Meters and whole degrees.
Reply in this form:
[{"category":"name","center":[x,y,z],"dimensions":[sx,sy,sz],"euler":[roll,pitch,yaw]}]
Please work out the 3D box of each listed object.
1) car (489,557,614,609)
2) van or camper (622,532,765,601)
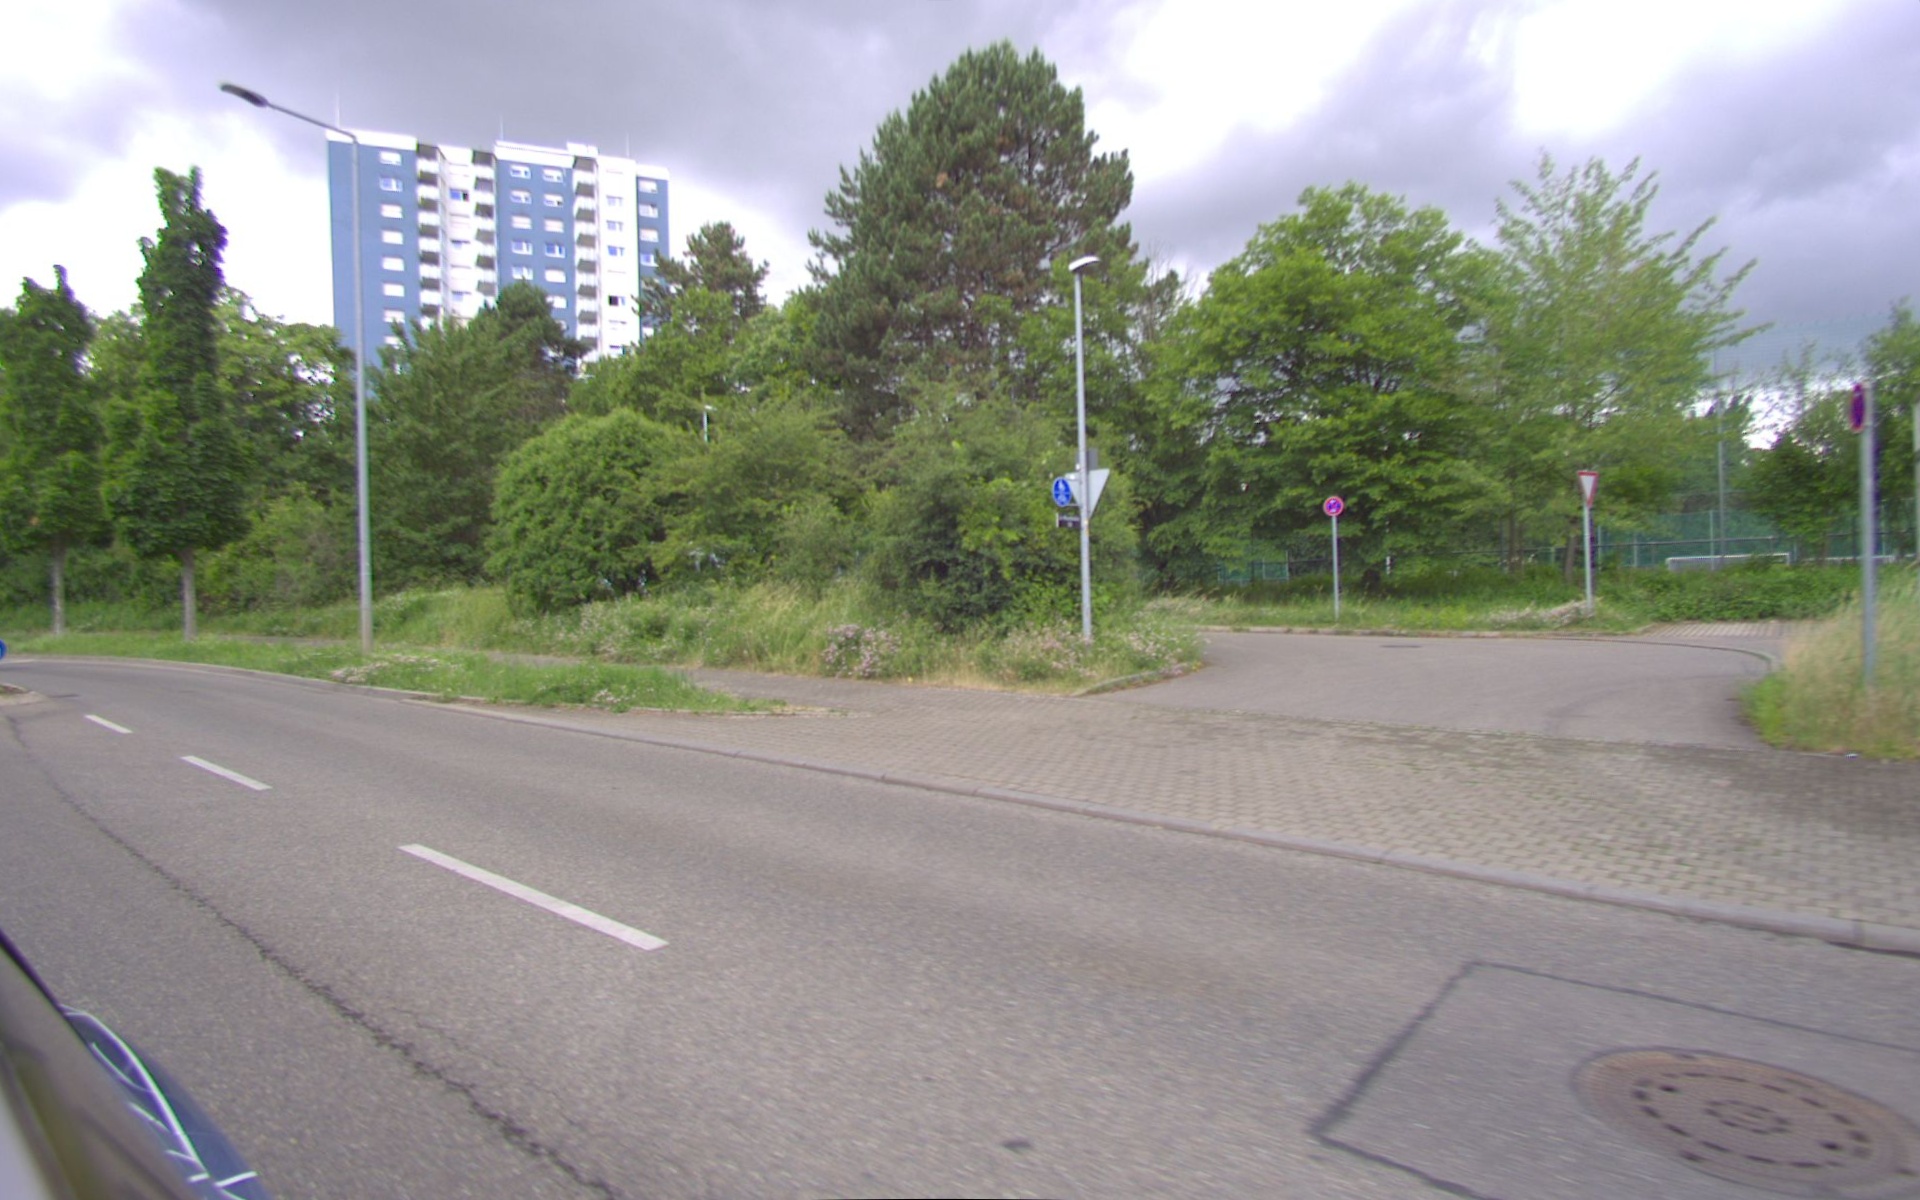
[{"category":"car","center":[-15.393,-0.605,37.989],"dimensions":[5.319,1.738,2.117],"euler":[-2,0,40]},{"category":"van or camper","center":[-8.382,-0.984,31.604],"dimensions":[4.626,1.891,1.974],"euler":[-2,0,40]}]
